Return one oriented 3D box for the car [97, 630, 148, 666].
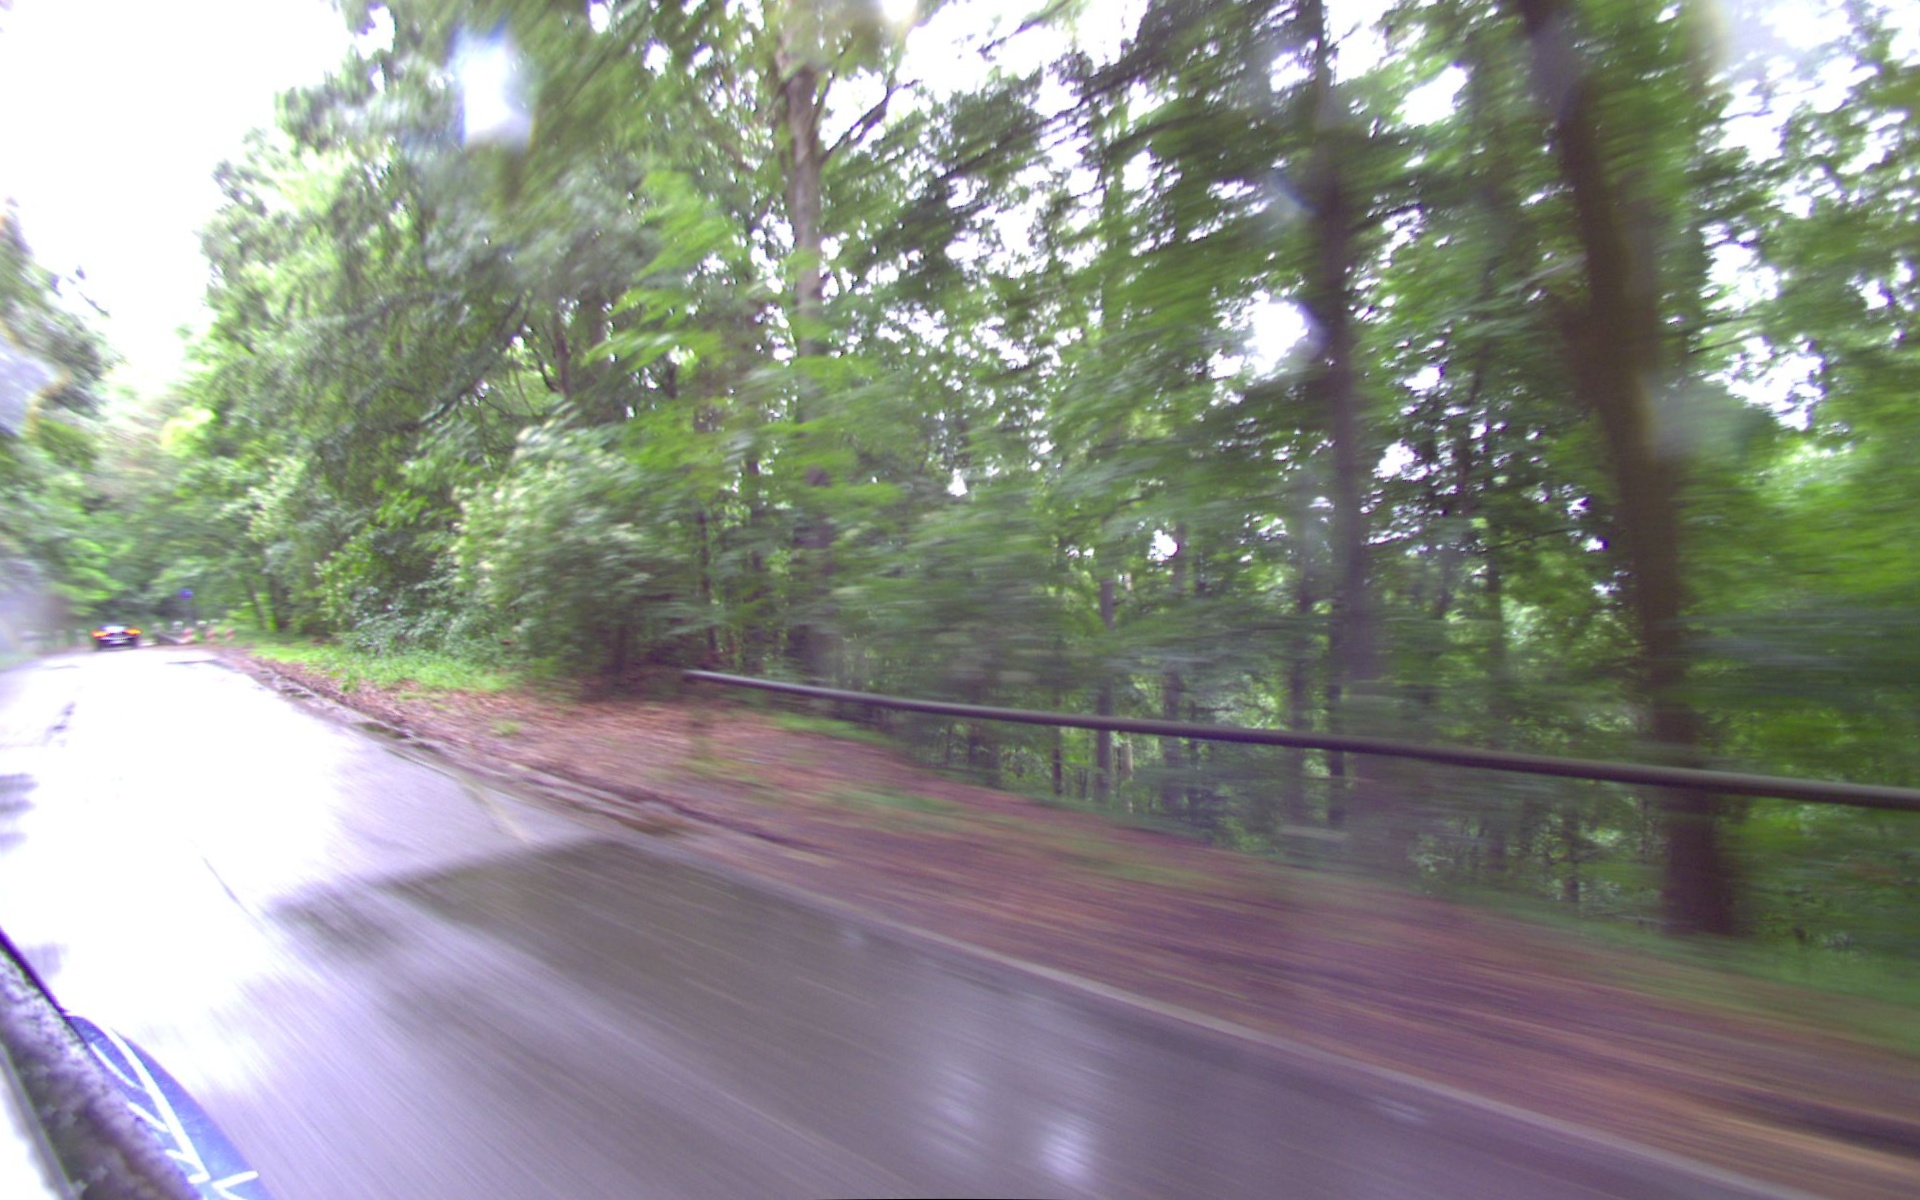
[{"bbox_3d":[-44.161,2.502,53.429,1.968,1.763,4.007,-1,-1,-39],"label":"car"}]
